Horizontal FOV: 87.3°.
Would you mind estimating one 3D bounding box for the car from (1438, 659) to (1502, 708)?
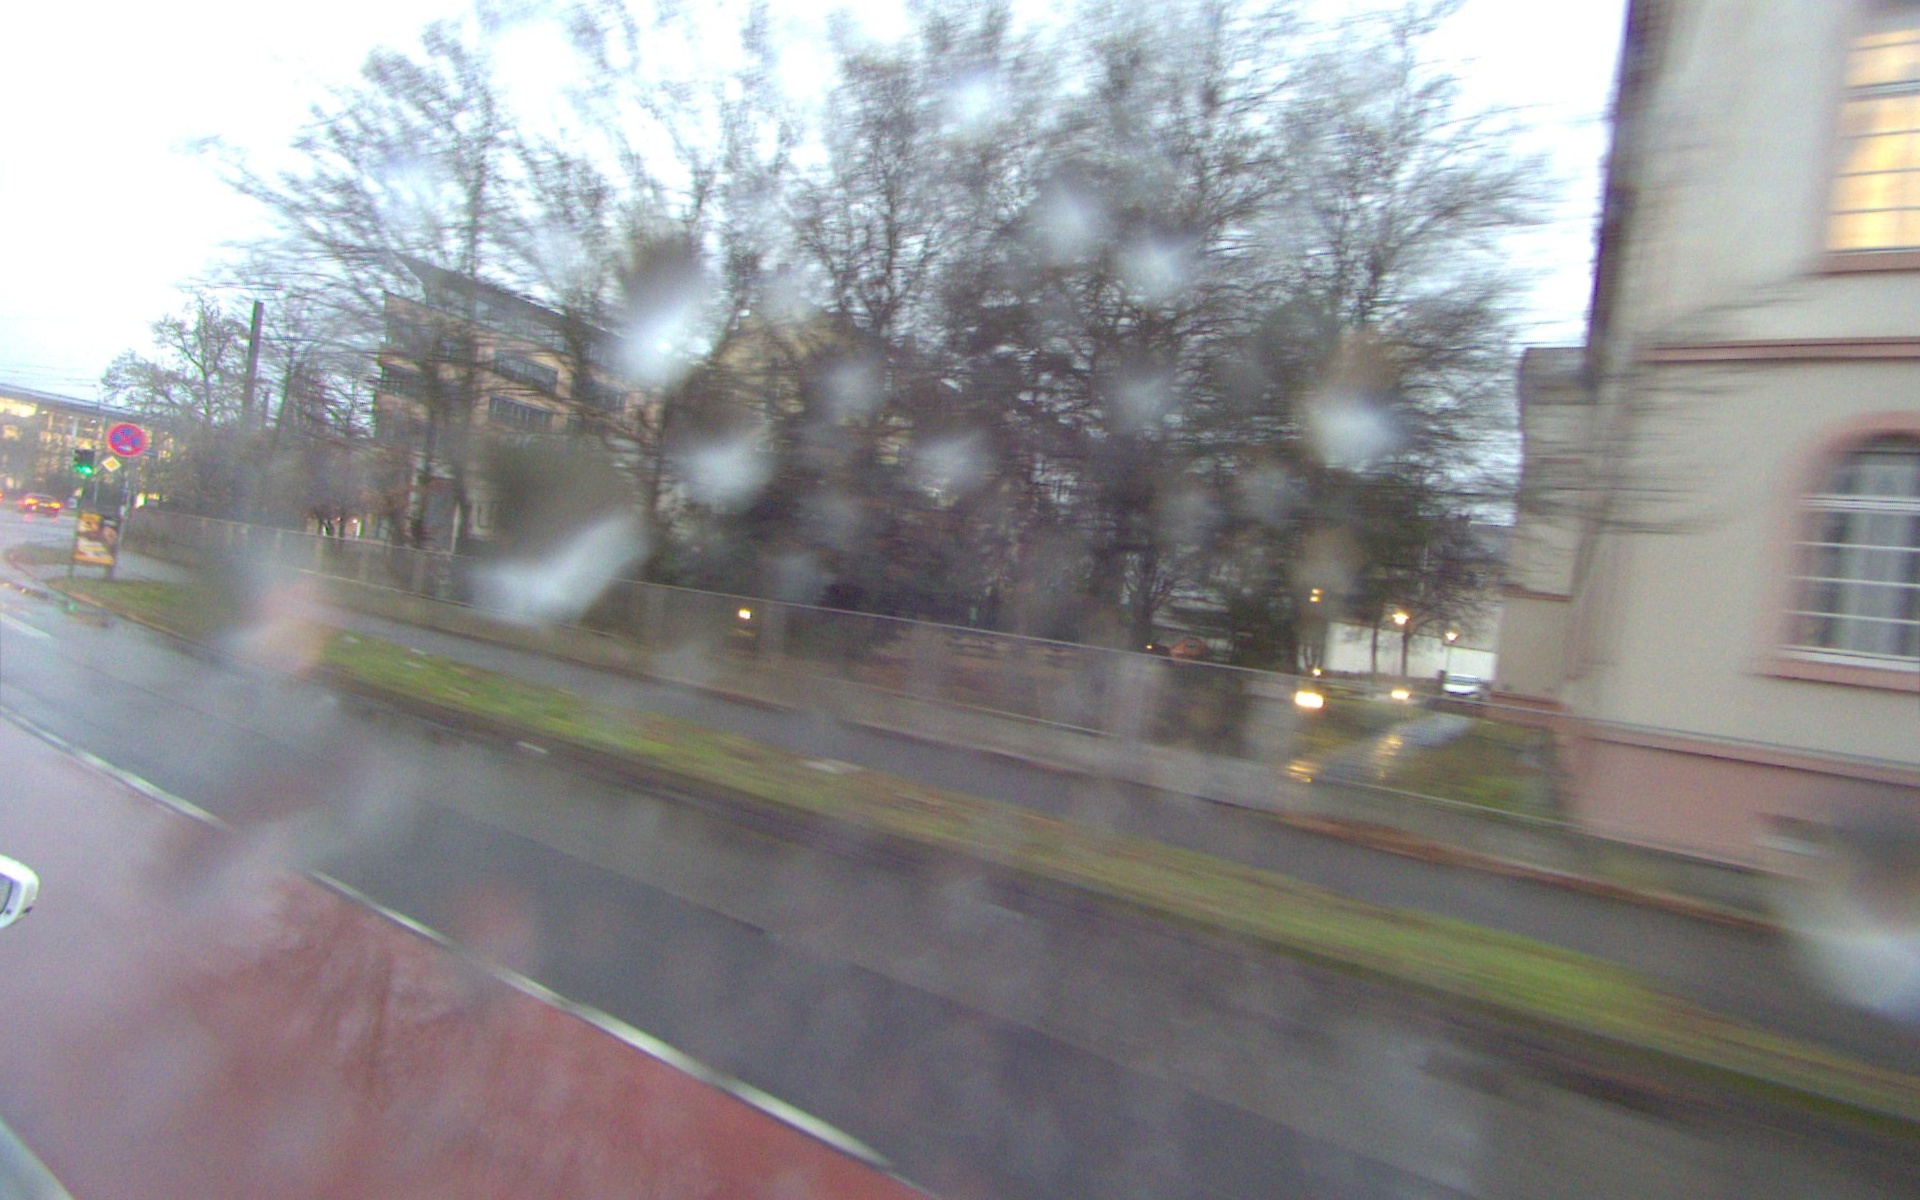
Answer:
[{"bbox_3d":[24.617,4.043,48.497,1.835,1.941,4.086,6,-2,38],"label":"car"}]

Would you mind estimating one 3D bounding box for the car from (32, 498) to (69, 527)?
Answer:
[{"bbox_3d":[-61.969,-5.964,68.525,1.740,1.631,3.951,7,0,-43],"label":"car"}]

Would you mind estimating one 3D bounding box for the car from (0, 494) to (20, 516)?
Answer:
[{"bbox_3d":[-74.902,-7.508,78.739,3.479,1.477,1.741,7,0,44],"label":"car"}]
